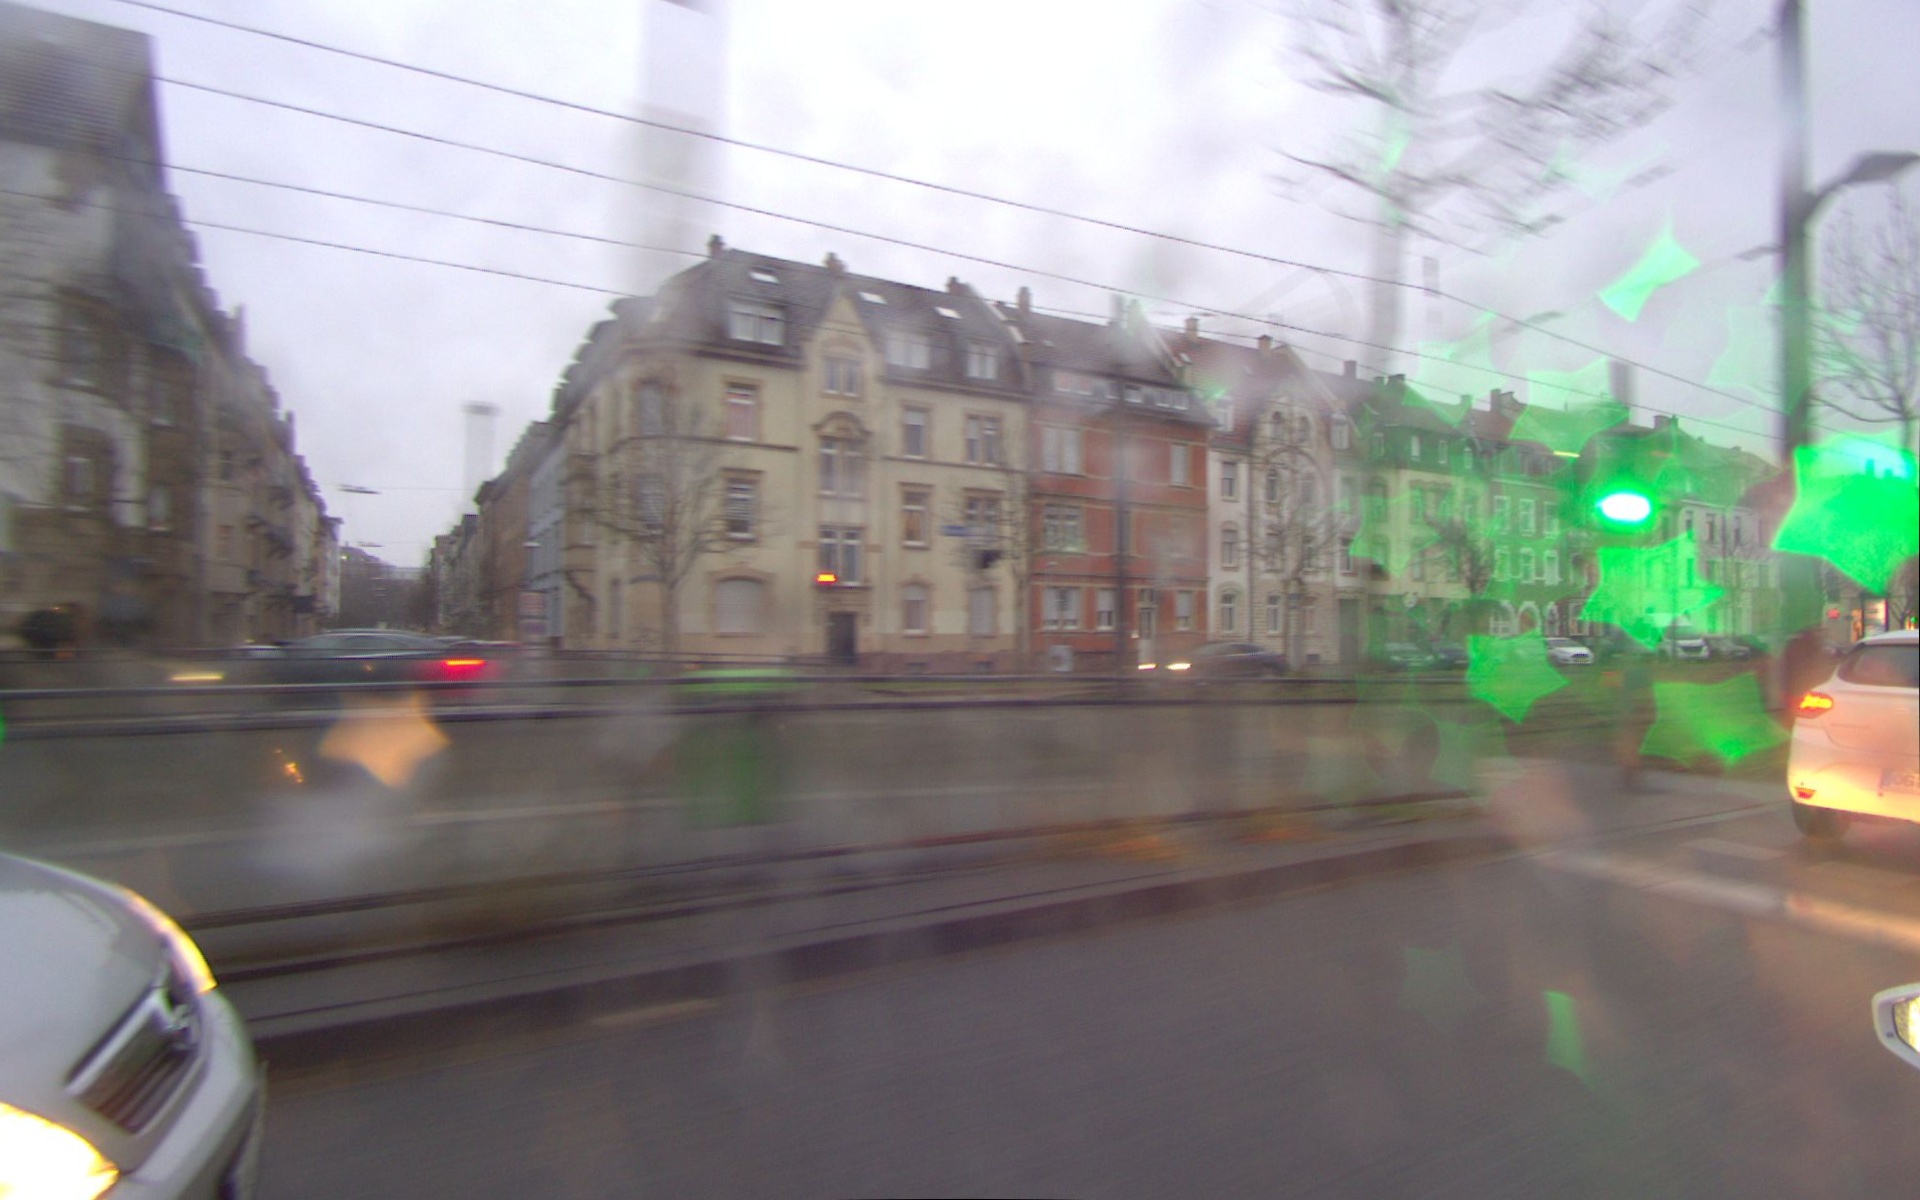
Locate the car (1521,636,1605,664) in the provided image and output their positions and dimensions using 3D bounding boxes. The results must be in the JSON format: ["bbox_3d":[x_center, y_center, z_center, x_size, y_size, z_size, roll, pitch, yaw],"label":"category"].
[{"bbox_3d":[29.706,2.455,49.614,1.960,1.349,4.003,0,-2,5],"label":"car"}]

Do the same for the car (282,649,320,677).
[{"bbox_3d":[-31.299,2.982,47.778,1.316,1.305,2.877,1,-3,-30],"label":"car"}]

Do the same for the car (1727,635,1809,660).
[{"bbox_3d":[49.304,2.881,61.397,1.960,1.505,4.003,0,-2,4],"label":"car"}]

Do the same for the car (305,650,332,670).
[{"bbox_3d":[-41.570,3.880,65.111,1.316,1.305,2.877,2,-3,-30],"label":"car"}]

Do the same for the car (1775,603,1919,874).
[{"bbox_3d":[7.522,0.866,6.926,4.006,1.621,1.664,1,-1,-30],"label":"car"}]

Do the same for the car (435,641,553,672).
[{"bbox_3d":[-18.877,2.290,40.825,3.925,1.228,1.869,0,-2,-7],"label":"car"}]

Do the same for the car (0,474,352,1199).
[{"bbox_3d":[-2.967,0.644,0.993,4.008,1.621,1.800,1,-1,-32],"label":"car"}]

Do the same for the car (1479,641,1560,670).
[{"bbox_3d":[26.711,2.635,48.126,1.959,1.349,4.003,0,-2,6],"label":"car"}]

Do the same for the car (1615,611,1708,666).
[{"bbox_3d":[38.347,2.123,55.108,1.959,2.834,5.872,-1,-2,12],"label":"car"}]

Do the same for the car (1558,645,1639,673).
[{"bbox_3d":[32.445,2.996,51.173,1.959,1.349,4.003,0,-2,8],"label":"car"}]

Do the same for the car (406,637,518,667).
[{"bbox_3d":[-21.639,2.264,43.801,3.925,1.228,1.869,0,-2,-7],"label":"car"}]

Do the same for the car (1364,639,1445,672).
[{"bbox_3d":[18.625,2.304,42.247,1.959,1.349,4.003,0,-2,6],"label":"car"}]

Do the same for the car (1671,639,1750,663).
[{"bbox_3d":[43.476,2.927,58.283,1.959,1.349,4.003,0,-2,8],"label":"car"}]

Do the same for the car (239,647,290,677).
[{"bbox_3d":[-26.461,2.331,38.275,1.316,1.089,2.877,1,-3,-30],"label":"car"}]

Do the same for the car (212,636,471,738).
[{"bbox_3d":[-11.452,1.543,18.875,3.953,1.659,1.855,1,0,-30],"label":"car"}]

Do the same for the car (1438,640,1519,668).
[{"bbox_3d":[22.788,2.364,44.292,1.959,1.184,4.003,0,-2,8],"label":"car"}]

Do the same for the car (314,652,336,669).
[{"bbox_3d":[-48.653,4.613,77.005,1.316,1.305,2.877,1,-3,-30],"label":"car"}]

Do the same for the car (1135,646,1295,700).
[{"bbox_3d":[7.598,2.114,29.781,4.644,1.472,1.856,1,-3,-30],"label":"car"}]

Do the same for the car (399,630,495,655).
[{"bbox_3d":[-26.102,2.162,51.255,3.925,1.228,1.869,0,-2,-7],"label":"car"}]

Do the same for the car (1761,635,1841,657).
[{"bbox_3d":[52.205,2.856,62.480,1.959,1.349,4.003,0,-2,8],"label":"car"}]
